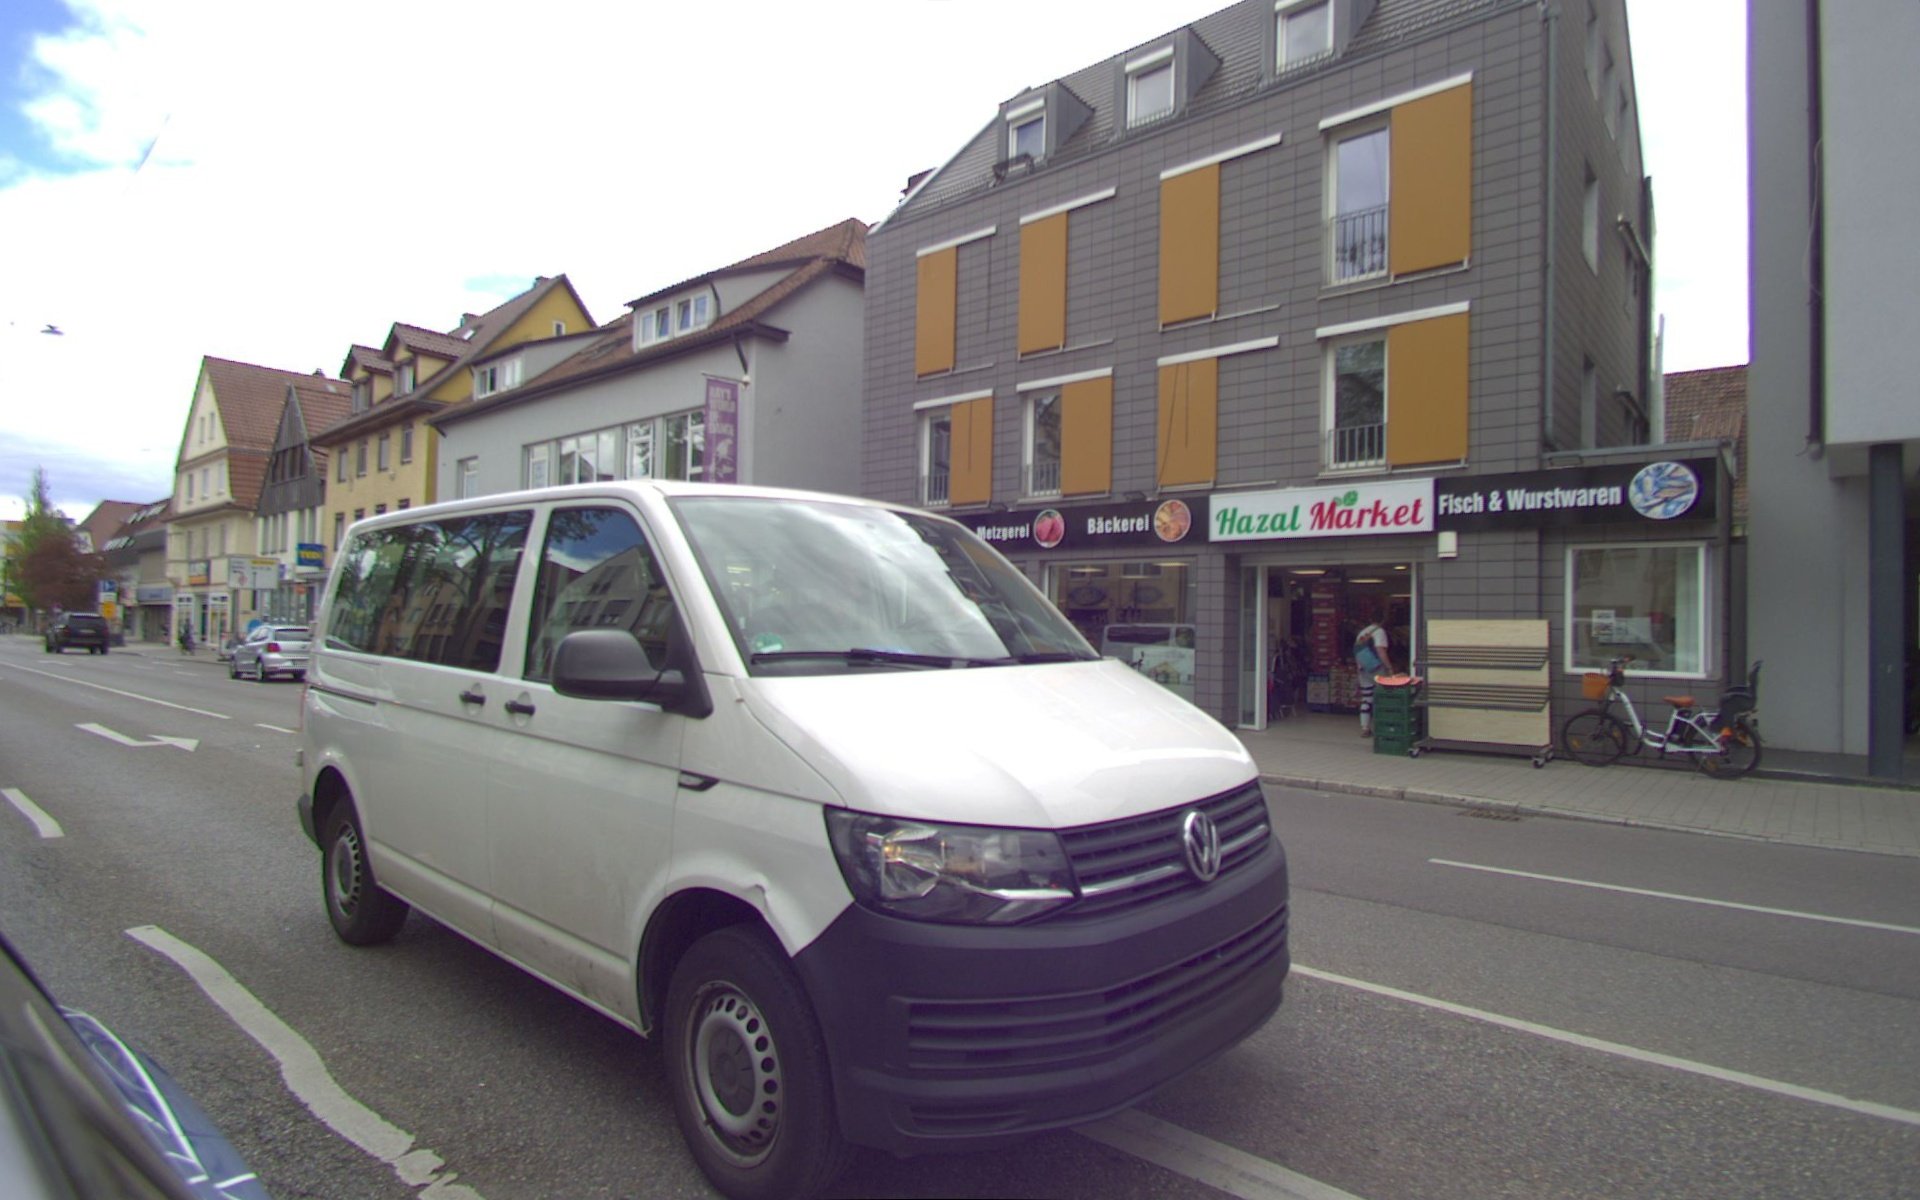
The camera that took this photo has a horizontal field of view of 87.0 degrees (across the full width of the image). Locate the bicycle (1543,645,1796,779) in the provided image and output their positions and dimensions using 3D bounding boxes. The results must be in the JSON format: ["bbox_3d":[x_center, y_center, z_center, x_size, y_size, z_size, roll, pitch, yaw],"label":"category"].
[{"bbox_3d":[7.359,1.113,10.585,2.118,1.241,0.576,-1,-2,41],"label":"bicycle"}]

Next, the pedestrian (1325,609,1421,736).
[{"bbox_3d":[5.660,0.962,13.873,0.971,1.656,0.878,-1,-2,41],"label":"pedestrian"}]

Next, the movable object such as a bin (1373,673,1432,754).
[{"bbox_3d":[5.354,1.357,12.245,0.506,0.906,0.545,-1,-2,40],"label":"movable object such as a bin"}]

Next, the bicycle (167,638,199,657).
[{"bbox_3d":[-36.178,2.199,47.112,2.239,0.829,0.763,-1,-3,41],"label":"bicycle"}]

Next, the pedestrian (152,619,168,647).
[{"bbox_3d":[-55.077,2.280,69.671,0.678,1.917,0.664,-1,-3,42],"label":"pedestrian"}]

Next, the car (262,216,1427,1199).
[{"bbox_3d":[-0.980,0.394,4.089,4.838,2.029,1.972,-1,-1,42],"label":"car"}]

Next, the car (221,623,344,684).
[{"bbox_3d":[-17.949,1.376,26.732,4.035,1.459,1.740,-1,-3,42],"label":"car"}]

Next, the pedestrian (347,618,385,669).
[{"bbox_3d":[-19.094,1.384,32.547,0.920,1.595,0.801,-1,-2,42],"label":"pedestrian"}]

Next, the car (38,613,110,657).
[{"bbox_3d":[-42.264,1.663,48.226,4.767,1.984,1.903,-1,-4,41],"label":"car"}]

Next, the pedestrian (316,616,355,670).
[{"bbox_3d":[-19.671,1.339,31.879,0.920,1.674,0.801,-1,-2,42],"label":"pedestrian"}]

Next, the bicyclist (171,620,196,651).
[{"bbox_3d":[-36.170,1.657,47.140,0.751,1.434,0.763,-1,-3,41],"label":"bicyclist"}]
